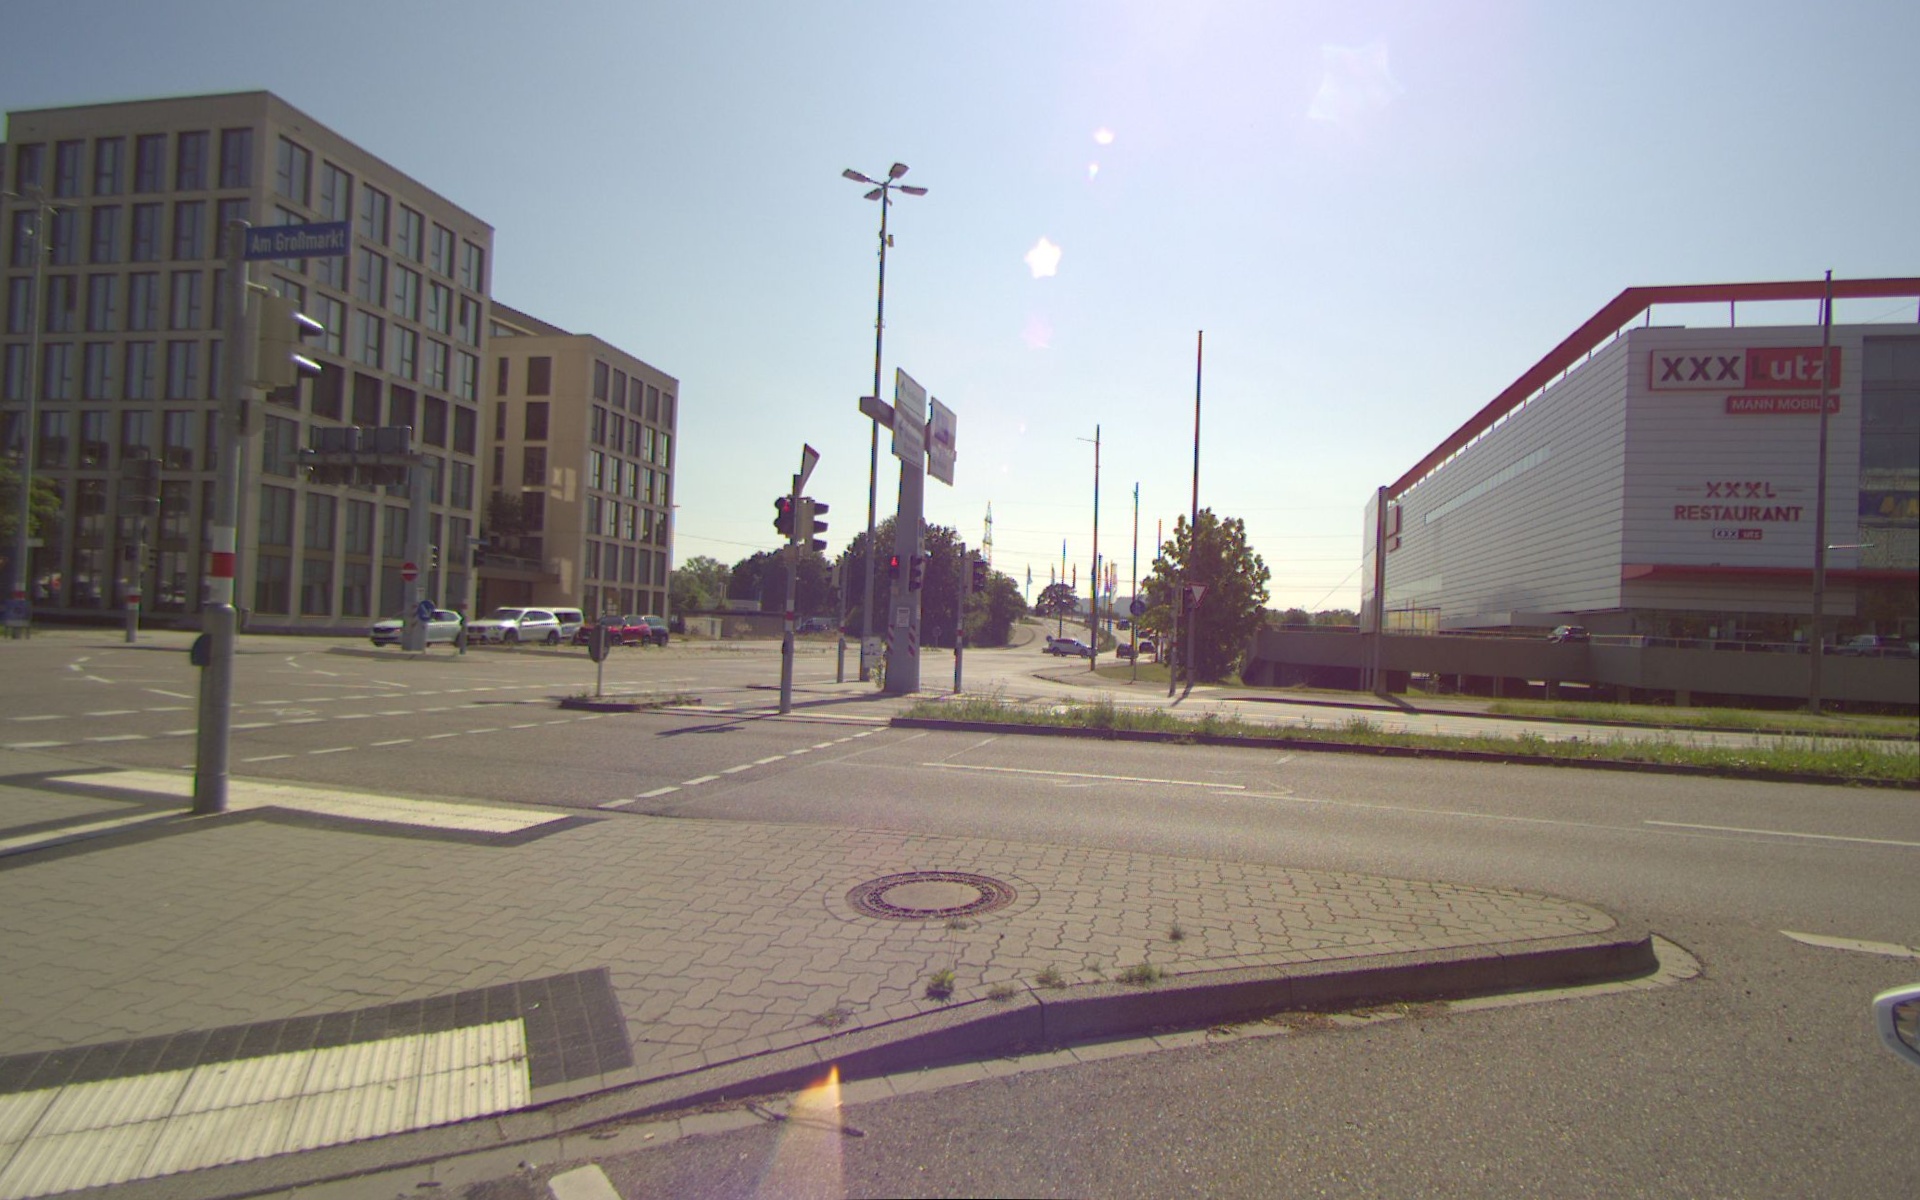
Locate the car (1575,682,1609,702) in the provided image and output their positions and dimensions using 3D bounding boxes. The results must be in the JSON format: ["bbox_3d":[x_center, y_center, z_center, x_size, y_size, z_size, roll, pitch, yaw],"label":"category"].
[{"bbox_3d":[37.049,5.383,58.895,1.049,0.988,1.945,3,-1,11],"label":"car"}]

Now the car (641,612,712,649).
[{"bbox_3d":[-15.674,1.696,55.802,1.798,1.914,4.246,3,-1,14],"label":"car"}]

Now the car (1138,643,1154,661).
[{"bbox_3d":[22.221,6.159,119.983,1.552,2.040,4.003,2,-2,14],"label":"car"}]

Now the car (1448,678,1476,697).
[{"bbox_3d":[30.331,5.256,60.772,0.912,0.988,1.945,3,-1,8],"label":"car"}]

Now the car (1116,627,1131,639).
[{"bbox_3d":[28.463,5.684,174.697,1.960,2.040,4.001,2,-2,1],"label":"car"}]

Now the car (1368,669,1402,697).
[{"bbox_3d":[16.822,3.262,39.803,0.872,0.988,1.945,0,-2,11],"label":"car"}]

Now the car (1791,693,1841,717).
[{"bbox_3d":[42.370,5.184,49.731,1.049,0.988,1.945,3,-1,11],"label":"car"}]

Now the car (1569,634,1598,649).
[{"bbox_3d":[43.305,2.867,69.826,1.049,0.988,1.945,3,-1,11],"label":"car"}]

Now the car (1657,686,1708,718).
[{"bbox_3d":[23.695,3.350,32.983,0.776,0.894,1.507,3,-1,11],"label":"car"}]

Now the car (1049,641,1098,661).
[{"bbox_3d":[10.232,4.554,90.400,3.928,1.643,2.019,1,-2,30],"label":"car"}]

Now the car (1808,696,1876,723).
[{"bbox_3d":[31.602,3.913,36.028,0.888,0.743,2.089,3,-1,11],"label":"car"}]

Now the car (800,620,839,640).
[{"bbox_3d":[-18.833,3.984,134.812,4.960,2.365,1.996,3,-1,-11],"label":"car"}]

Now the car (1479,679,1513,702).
[{"bbox_3d":[28.449,4.777,53.297,1.049,1.053,1.945,2,-2,11],"label":"car"}]

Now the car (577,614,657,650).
[{"bbox_3d":[-15.493,1.468,45.573,1.500,1.547,4.123,2,-2,12],"label":"car"}]

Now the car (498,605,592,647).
[{"bbox_3d":[-18.744,1.214,45.594,1.866,1.734,4.235,2,-2,11],"label":"car"}]

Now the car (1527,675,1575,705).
[{"bbox_3d":[22.588,3.422,38.435,1.049,1.021,1.945,2,-2,14],"label":"car"}]

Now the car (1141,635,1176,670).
[{"bbox_3d":[14.375,3.750,72.489,1.960,2.326,4.034,3,-1,18],"label":"car"}]

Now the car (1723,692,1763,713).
[{"bbox_3d":[43.835,5.730,56.276,0.941,0.988,1.945,3,-1,11],"label":"car"}]

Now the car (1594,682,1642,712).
[{"bbox_3d":[24.728,3.630,37.766,0.849,0.988,1.850,3,-1,11],"label":"car"}]

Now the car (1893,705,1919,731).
[{"bbox_3d":[40.435,4.996,42.214,0.892,0.988,1.945,3,-1,11],"label":"car"}]

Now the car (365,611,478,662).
[{"bbox_3d":[-20.268,1.370,37.991,1.797,1.735,3.769,3,-1,8],"label":"car"}]

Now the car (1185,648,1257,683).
[{"bbox_3d":[15.294,3.831,58.870,3.919,1.757,2.001,3,-1,15],"label":"car"}]

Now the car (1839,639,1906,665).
[{"bbox_3d":[52.120,2.950,57.429,1.485,1.347,3.023,3,-1,13],"label":"car"}]

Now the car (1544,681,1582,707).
[{"bbox_3d":[26.335,4.092,43.874,0.869,0.988,1.944,3,-1,14],"label":"car"}]

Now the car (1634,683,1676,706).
[{"bbox_3d":[35.528,4.829,51.407,1.049,0.988,1.945,3,-1,11],"label":"car"}]

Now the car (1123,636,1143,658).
[{"bbox_3d":[17.017,4.623,98.745,1.603,2.040,4.003,2,-2,14],"label":"car"}]

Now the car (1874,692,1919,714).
[{"bbox_3d":[50.671,5.559,54.273,1.049,0.988,1.945,3,-1,11],"label":"car"}]

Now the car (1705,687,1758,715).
[{"bbox_3d":[33.566,4.379,43.716,1.049,0.988,1.945,3,-1,11],"label":"car"}]

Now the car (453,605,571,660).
[{"bbox_3d":[-17.107,1.248,38.577,1.985,1.862,4.315,3,-1,10],"label":"car"}]

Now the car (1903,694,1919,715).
[{"bbox_3d":[30.478,3.314,31.316,0.841,0.629,1.565,3,-1,11],"label":"car"}]

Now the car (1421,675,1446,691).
[{"bbox_3d":[32.462,5.683,68.899,1.049,0.988,1.945,3,-1,11],"label":"car"}]

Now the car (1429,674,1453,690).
[{"bbox_3d":[34.372,5.861,71.738,1.049,0.988,1.945,3,-1,11],"label":"car"}]
